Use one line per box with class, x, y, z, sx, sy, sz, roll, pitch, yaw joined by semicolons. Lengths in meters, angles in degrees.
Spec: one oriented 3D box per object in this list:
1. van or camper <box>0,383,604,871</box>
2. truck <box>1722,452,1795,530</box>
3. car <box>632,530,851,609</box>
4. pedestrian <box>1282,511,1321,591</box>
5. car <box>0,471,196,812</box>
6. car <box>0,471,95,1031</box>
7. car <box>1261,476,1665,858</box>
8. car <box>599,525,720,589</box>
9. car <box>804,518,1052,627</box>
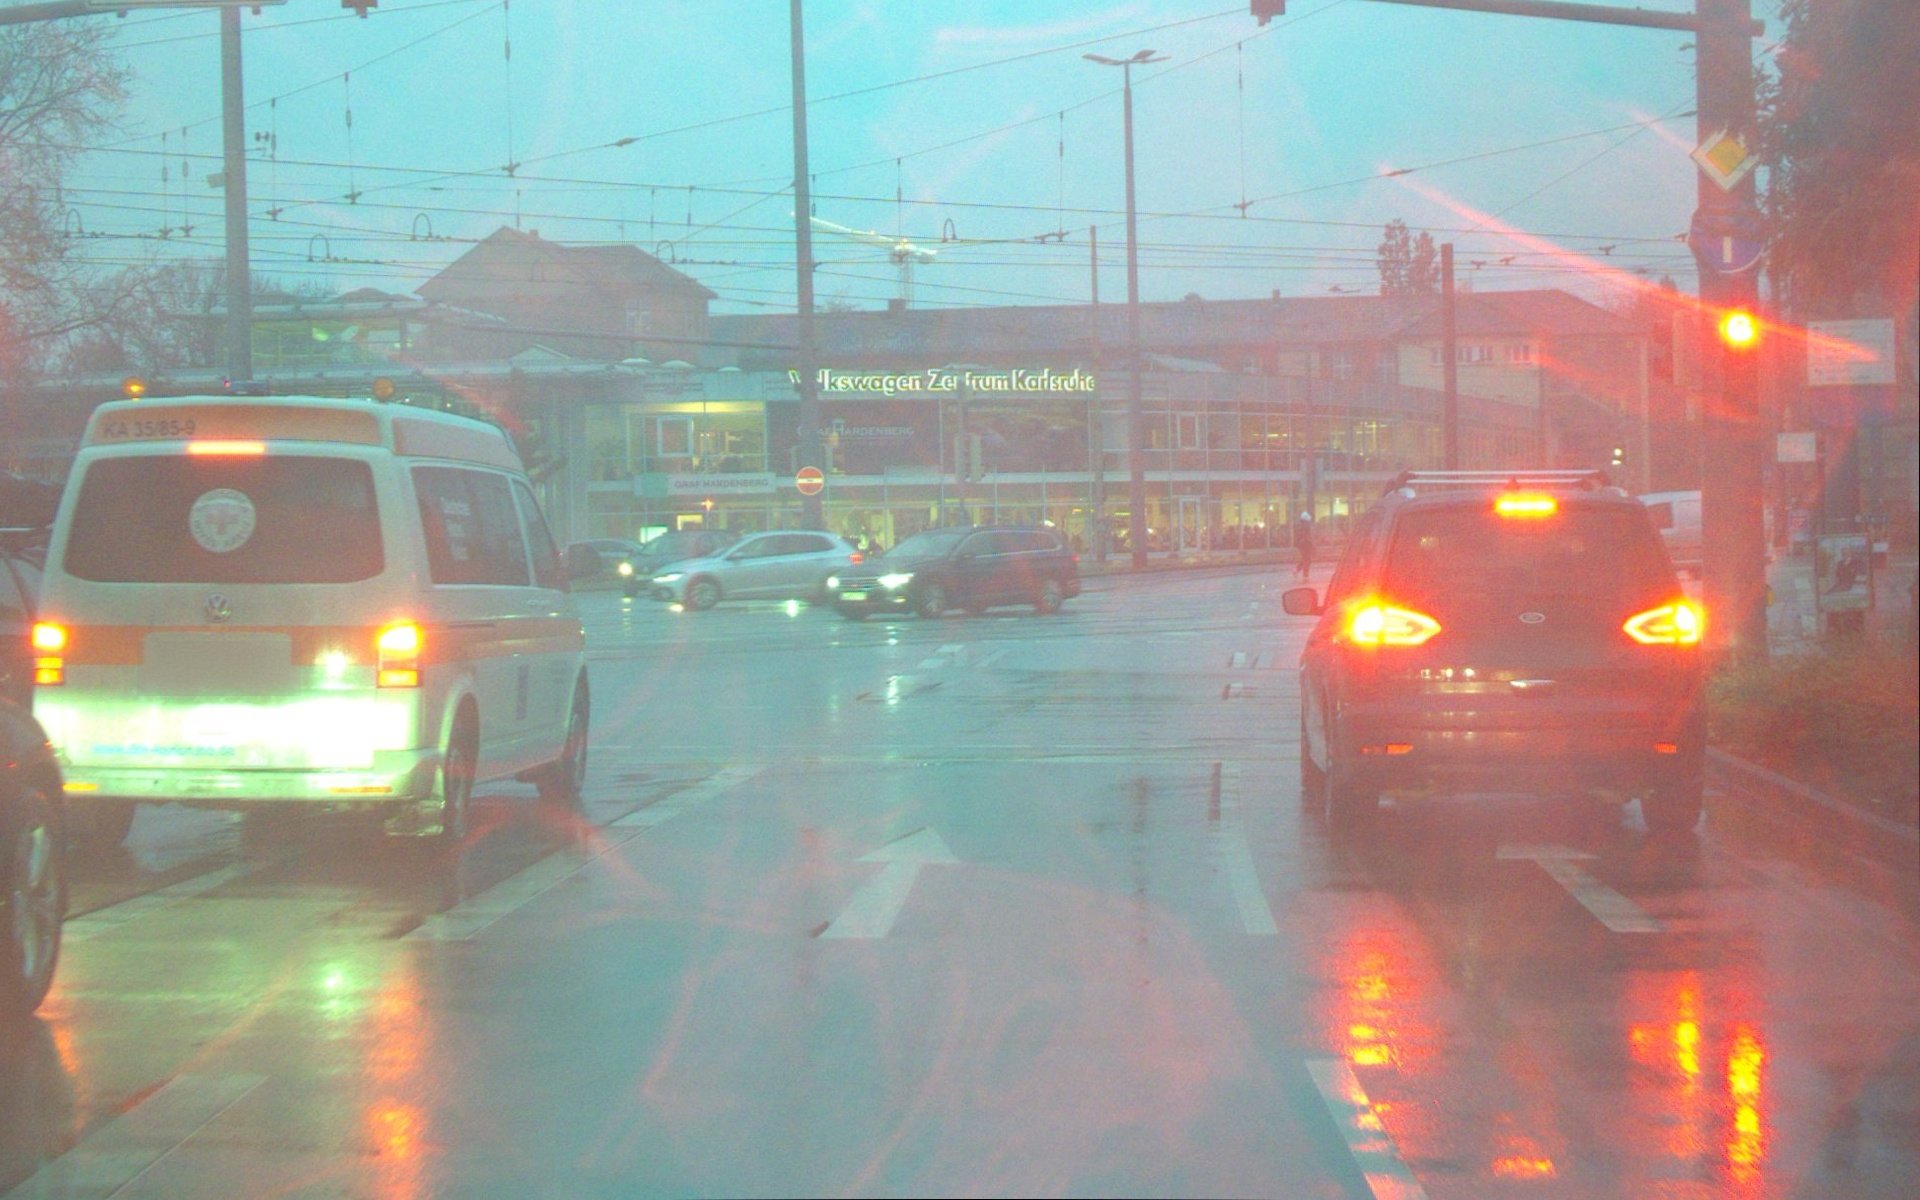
van or camper;-3.274;0.067;17.360;2.202;2.102;4.987;0;1;3
truck;28.870;-3.928;124.164;1.995;2.682;5.111;-1;1;19
car;-4.129;-0.582;64.722;3.803;1.362;1.852;-2;1;-14
pedestrian;7.912;-1.131;79.581;0.591;1.834;0.619;-2;1;-33
car;-5.802;0.188;19.802;1.885;1.766;4.000;-1;1;0
car;-3.603;0.435;8.494;1.785;1.595;4.541;1;1;0
car;2.561;0.256;18.416;1.778;1.794;4.424;0;2;4
car;-7.144;-1.039;82.016;1.814;1.441;3.998;-1;1;11
car;-0.468;-0.453;54.395;1.997;1.597;3.993;-1;1;33
